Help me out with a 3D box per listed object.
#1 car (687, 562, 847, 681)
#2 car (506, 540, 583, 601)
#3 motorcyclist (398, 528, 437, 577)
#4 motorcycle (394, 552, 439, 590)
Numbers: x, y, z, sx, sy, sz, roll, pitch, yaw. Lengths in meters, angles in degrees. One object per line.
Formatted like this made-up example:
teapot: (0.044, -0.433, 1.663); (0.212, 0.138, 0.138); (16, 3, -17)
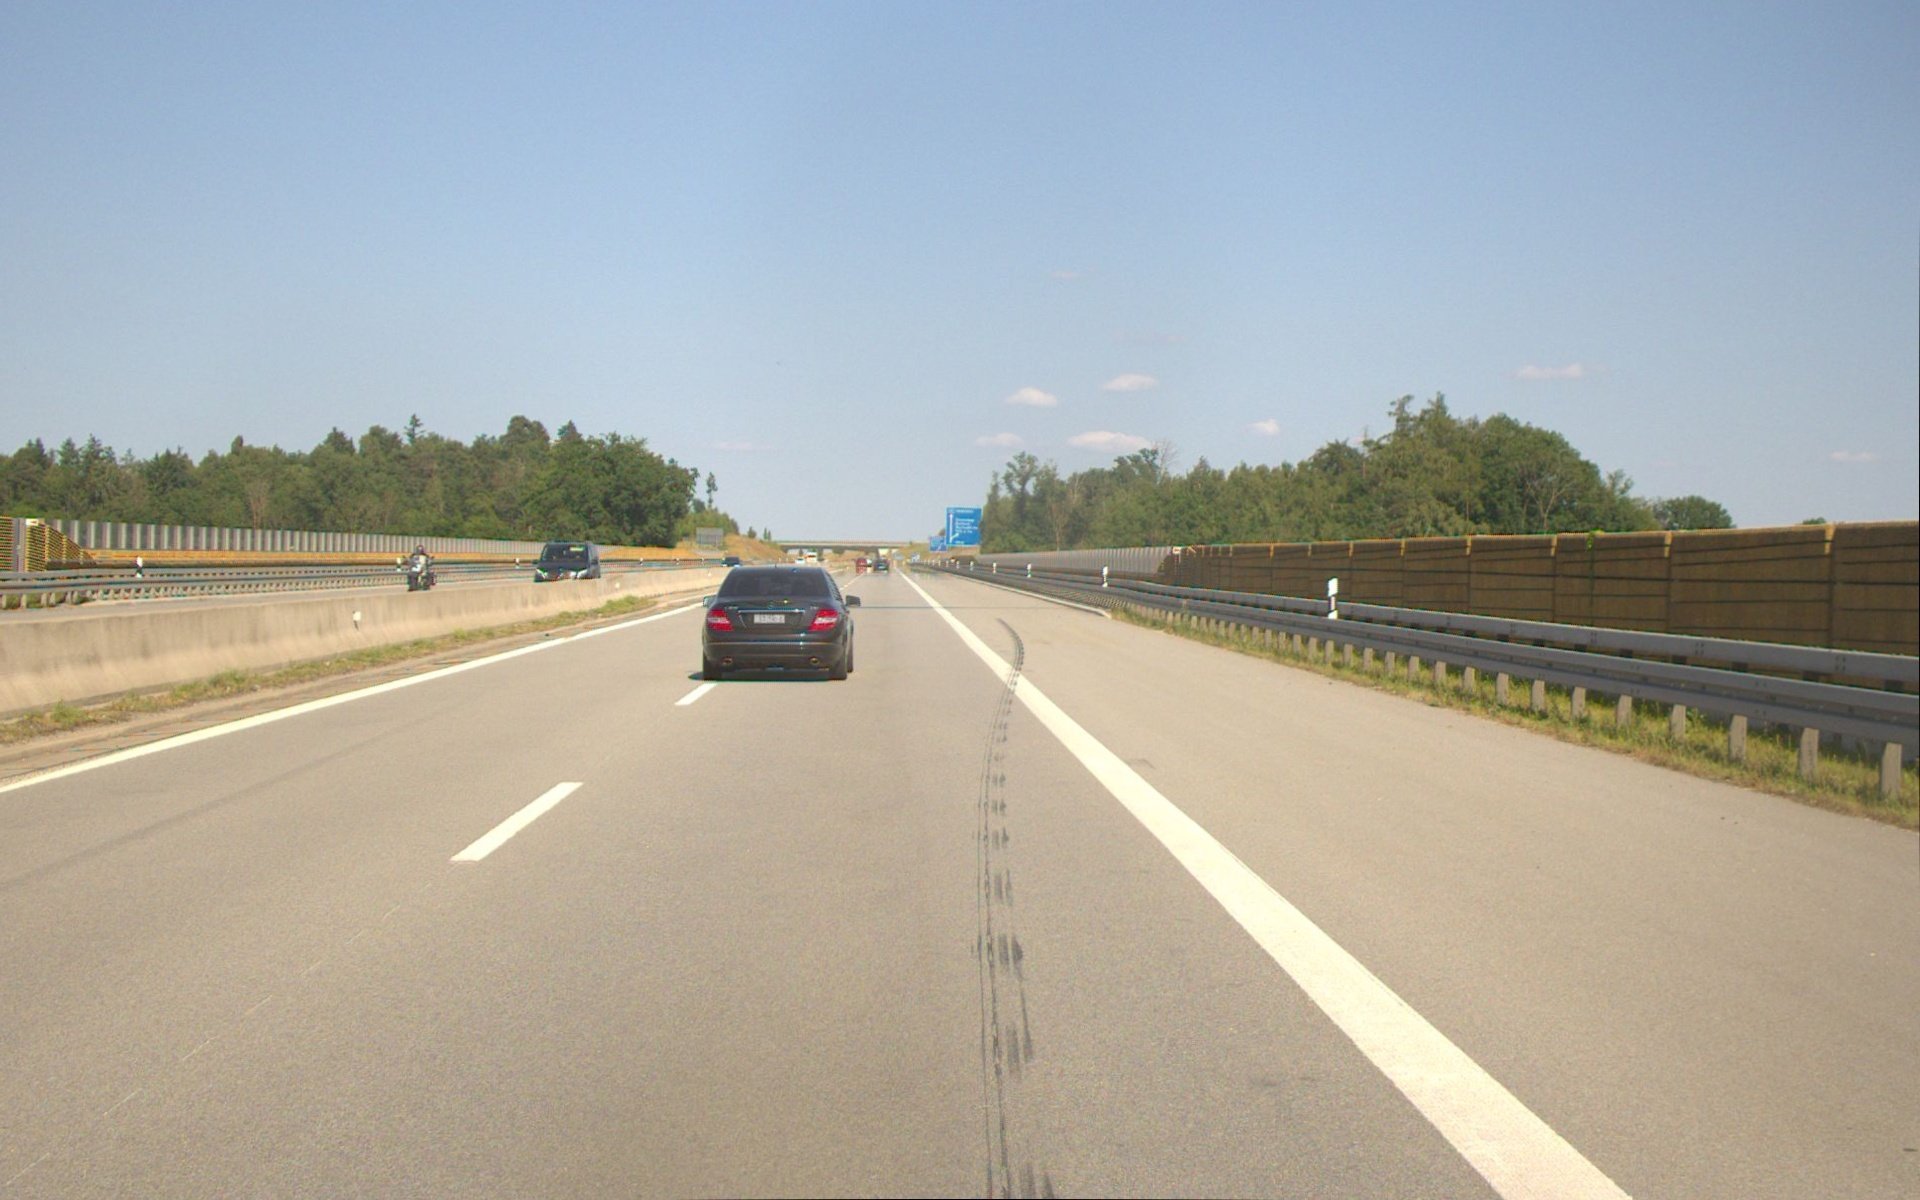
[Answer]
car: (-2.334, 0.227, 42.493); (1.790, 1.369, 3.917); (1, 1, -1)
car: (-14.132, -0.991, 117.079); (1.993, 2.007, 5.737); (1, 0, -1)
motorcyclist: (-17.292, -1.508, 109.538); (1.012, 1.558, 1.428); (1, 0, -1)
motorcycle: (-17.301, -0.936, 109.558); (1.013, 1.163, 2.868); (1, 1, -1)
